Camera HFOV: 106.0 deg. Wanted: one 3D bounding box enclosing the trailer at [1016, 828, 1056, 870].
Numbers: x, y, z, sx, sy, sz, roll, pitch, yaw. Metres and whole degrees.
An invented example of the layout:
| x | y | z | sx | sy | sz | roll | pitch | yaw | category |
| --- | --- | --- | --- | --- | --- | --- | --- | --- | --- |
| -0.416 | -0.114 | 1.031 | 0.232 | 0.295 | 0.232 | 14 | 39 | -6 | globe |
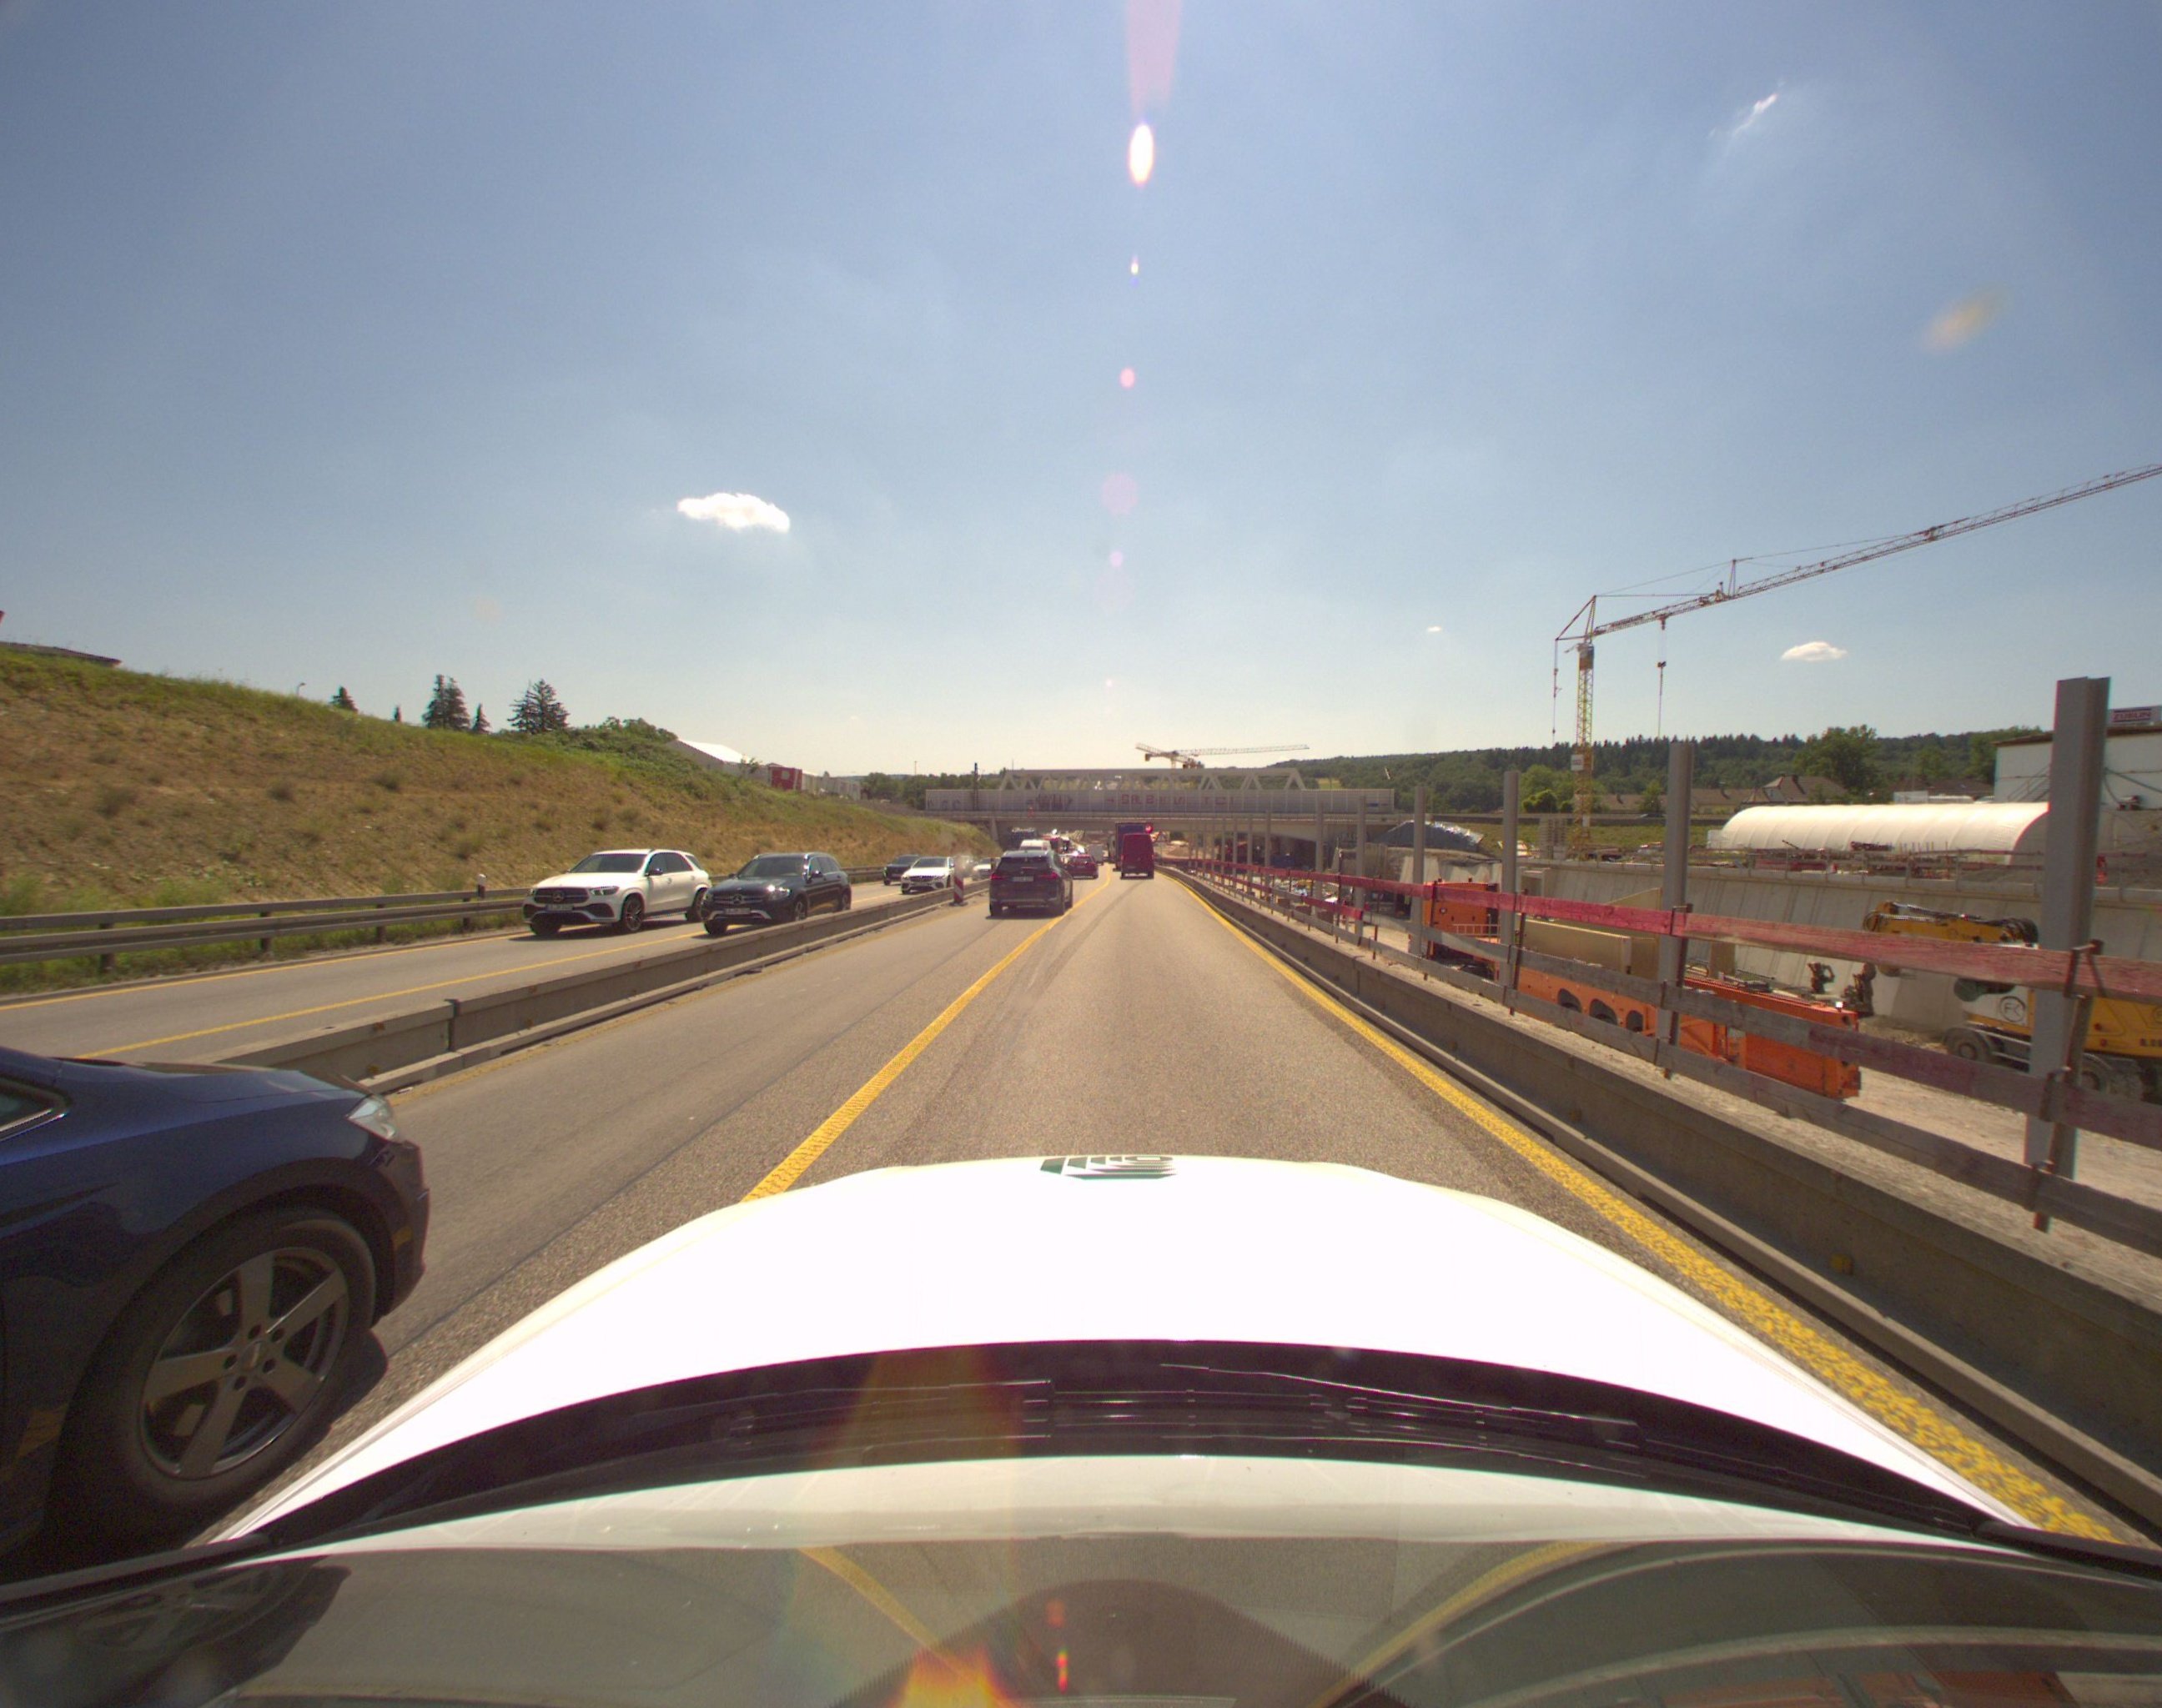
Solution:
| x | y | z | sx | sy | sz | roll | pitch | yaw | category |
| --- | --- | --- | --- | --- | --- | --- | --- | --- | --- |
| -4.590 | -0.530 | 85.101 | 2.335 | 4.015 | 11.470 | 0 | 0 | 6 | trailer |

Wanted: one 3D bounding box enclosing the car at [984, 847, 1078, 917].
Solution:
| x | y | z | sx | sy | sz | roll | pitch | yaw | category |
| --- | --- | --- | --- | --- | --- | --- | --- | --- | --- |
| -1.200 | 0.639 | 21.465 | 1.871 | 1.618 | 4.504 | -1 | 0 | 4 | car |

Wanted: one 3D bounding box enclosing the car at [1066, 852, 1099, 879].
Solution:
| x | y | z | sx | sy | sz | roll | pitch | yaw | category |
| --- | --- | --- | --- | --- | --- | --- | --- | --- | --- |
| 0.122 | 0.665 | 48.984 | 1.769 | 1.517 | 4.209 | -1 | 0 | 2 | car |

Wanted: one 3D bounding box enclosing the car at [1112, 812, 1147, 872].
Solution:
| x | y | z | sx | sy | sz | roll | pitch | yaw | category |
| --- | --- | --- | --- | --- | --- | --- | --- | --- | --- |
| 4.260 | -1.068 | 73.621 | 2.612 | 5.032 | 10.398 | -1 | 0 | 1 | car |

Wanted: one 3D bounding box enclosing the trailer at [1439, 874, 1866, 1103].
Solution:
| x | y | z | sx | sy | sz | roll | pitch | yaw | category |
| --- | --- | --- | --- | --- | --- | --- | --- | --- | --- |
| 13.578 | 2.677 | 21.784 | 2.747 | 3.886 | 13.057 | 0 | 0 | 2 | trailer |

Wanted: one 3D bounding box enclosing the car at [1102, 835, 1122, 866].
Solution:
| x | y | z | sx | sy | sz | roll | pitch | yaw | category |
| --- | --- | --- | --- | --- | --- | --- | --- | --- | --- |
| 4.267 | -0.487 | 113.615 | 2.442 | 4.161 | 6.861 | -1 | 0 | 1 | car |

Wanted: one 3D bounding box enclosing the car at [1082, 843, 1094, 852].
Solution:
| x | y | z | sx | sy | sz | roll | pitch | yaw | category |
| --- | --- | --- | --- | --- | --- | --- | --- | --- | --- |
| 1.653 | -1.481 | 192.482 | 1.993 | 2.013 | 3.987 | 0 | 0 | -9 | car |

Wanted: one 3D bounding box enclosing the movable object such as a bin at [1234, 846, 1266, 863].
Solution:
| x | y | z | sx | sy | sz | roll | pitch | yaw | category |
| --- | --- | --- | --- | --- | --- | --- | --- | --- | --- |
| 27.945 | 0.079 | 134.660 | 5.120 | 2.807 | 2.146 | 0 | 0 | 6 | movable object such as a bin |

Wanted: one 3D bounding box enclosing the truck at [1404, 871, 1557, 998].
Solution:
| x | y | z | sx | sy | sz | roll | pitch | yaw | category |
| --- | --- | --- | --- | --- | --- | --- | --- | --- | --- |
| 13.883 | 2.625 | 28.862 | 2.748 | 3.886 | 5.885 | 0 | 0 | 2 | truck |

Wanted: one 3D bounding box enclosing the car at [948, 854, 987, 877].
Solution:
| x | y | z | sx | sy | sz | roll | pitch | yaw | category |
| --- | --- | --- | --- | --- | --- | --- | --- | --- | --- |
| -7.646 | 0.744 | 55.059 | 1.757 | 1.447 | 4.133 | 0 | 0 | 4 | car |

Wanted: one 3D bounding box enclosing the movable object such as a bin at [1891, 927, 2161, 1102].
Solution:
| x | y | z | sx | sy | sz | roll | pitch | yaw | category |
| --- | --- | --- | --- | --- | --- | --- | --- | --- | --- |
| 21.975 | 3.419 | 18.588 | 2.271 | 3.024 | 4.824 | 1 | 0 | 3 | movable object such as a bin |

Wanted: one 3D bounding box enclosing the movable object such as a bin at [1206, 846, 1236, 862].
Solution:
| x | y | z | sx | sy | sz | roll | pitch | yaw | category |
| --- | --- | --- | --- | --- | --- | --- | --- | --- | --- |
| 25.170 | 0.061 | 146.443 | 5.120 | 2.807 | 2.146 | 0 | 0 | 6 | movable object such as a bin |

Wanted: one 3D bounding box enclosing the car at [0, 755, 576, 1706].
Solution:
| x | y | z | sx | sy | sz | roll | pitch | yaw | category |
| --- | --- | --- | --- | --- | --- | --- | --- | --- | --- |
| -2.855 | 0.703 | 0.763 | 1.769 | 1.718 | 4.653 | 0 | 1 | 1 | car |

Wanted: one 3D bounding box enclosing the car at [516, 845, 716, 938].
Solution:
| x | y | z | sx | sy | sz | roll | pitch | yaw | category |
| --- | --- | --- | --- | --- | --- | --- | --- | --- | --- |
| -10.032 | 0.716 | 18.053 | 1.785 | 1.762 | 4.537 | -1 | 0 | 0 | car |

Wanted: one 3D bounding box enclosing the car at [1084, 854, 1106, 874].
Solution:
| x | y | z | sx | sy | sz | roll | pitch | yaw | category |
| --- | --- | --- | --- | --- | --- | --- | --- | --- | --- |
| 1.203 | 0.830 | 70.767 | 1.833 | 1.654 | 4.164 | -1 | 1 | 0 | car |

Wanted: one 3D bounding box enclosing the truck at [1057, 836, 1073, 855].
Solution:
| x | y | z | sx | sy | sz | roll | pitch | yaw | category |
| --- | --- | --- | --- | --- | --- | --- | --- | --- | --- |
| -3.351 | -1.791 | 173.177 | 2.825 | 3.852 | 12.914 | 0 | 0 | 1 | truck |

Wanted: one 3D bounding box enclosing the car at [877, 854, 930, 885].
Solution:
| x | y | z | sx | sy | sz | roll | pitch | yaw | category |
| --- | --- | --- | --- | --- | --- | --- | --- | --- | --- |
| -9.086 | 0.757 | 41.949 | 1.687 | 1.531 | 4.003 | 0 | 0 | 3 | car |

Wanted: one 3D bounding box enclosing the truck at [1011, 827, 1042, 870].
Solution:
| x | y | z | sx | sy | sz | roll | pitch | yaw | category |
| --- | --- | --- | --- | --- | --- | --- | --- | --- | --- |
| -5.248 | -0.501 | 78.688 | 2.346 | 4.015 | 4.006 | 0 | 0 | 6 | truck |

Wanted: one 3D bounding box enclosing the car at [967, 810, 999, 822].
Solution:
| x | y | z | sx | sy | sz | roll | pitch | yaw | category |
| --- | --- | --- | --- | --- | --- | --- | --- | --- | --- |
| -15.515 | -5.979 | 129.236 | 4.521 | 1.783 | 1.968 | 0 | 0 | 14 | car |

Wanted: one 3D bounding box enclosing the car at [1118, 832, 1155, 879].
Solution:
| x | y | z | sx | sy | sz | roll | pitch | yaw | category |
| --- | --- | --- | --- | --- | --- | --- | --- | --- | --- |
| 3.313 | 0.053 | 49.475 | 1.982 | 2.690 | 4.624 | -1 | 0 | 1 | car |

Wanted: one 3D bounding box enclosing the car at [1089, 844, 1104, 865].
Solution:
| x | y | z | sx | sy | sz | roll | pitch | yaw | category |
| --- | --- | --- | --- | --- | --- | --- | --- | --- | --- |
| 1.923 | 0.069 | 99.206 | 1.770 | 2.441 | 4.206 | -1 | 0 | 1 | car |

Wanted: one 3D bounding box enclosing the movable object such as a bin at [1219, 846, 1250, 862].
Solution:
| x | y | z | sx | sy | sz | roll | pitch | yaw | category |
| --- | --- | --- | --- | --- | --- | --- | --- | --- | --- |
| 26.624 | -0.019 | 141.635 | 5.120 | 2.807 | 2.146 | 0 | 0 | 6 | movable object such as a bin |

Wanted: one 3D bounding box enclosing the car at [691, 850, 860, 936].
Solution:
| x | y | z | sx | sy | sz | roll | pitch | yaw | category |
| --- | --- | --- | --- | --- | --- | --- | --- | --- | --- |
| -6.438 | 0.736 | 17.825 | 1.784 | 1.611 | 4.735 | 0 | 0 | 2 | car |

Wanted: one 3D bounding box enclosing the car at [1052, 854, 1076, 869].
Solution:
| x | y | z | sx | sy | sz | roll | pitch | yaw | category |
| --- | --- | --- | --- | --- | --- | --- | --- | --- | --- |
| -1.680 | 0.740 | 83.096 | 1.808 | 1.383 | 4.592 | 0 | 0 | 7 | car |

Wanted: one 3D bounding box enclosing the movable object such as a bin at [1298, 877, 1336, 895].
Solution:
| x | y | z | sx | sy | sz | roll | pitch | yaw | category |
| --- | --- | --- | --- | --- | --- | --- | --- | --- | --- |
| 21.868 | 2.970 | 75.534 | 3.067 | 1.563 | 1.563 | 0 | 0 | 37 | movable object such as a bin |

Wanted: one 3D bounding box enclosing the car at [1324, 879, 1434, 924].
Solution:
| x | y | z | sx | sy | sz | roll | pitch | yaw | category |
| --- | --- | --- | --- | --- | --- | --- | --- | --- | --- |
| 18.837 | 2.977 | 51.656 | 6.086 | 2.584 | 2.523 | 1 | 2 | -9 | car |

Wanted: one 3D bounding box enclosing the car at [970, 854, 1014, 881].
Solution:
| x | y | z | sx | sy | sz | roll | pitch | yaw | category |
| --- | --- | --- | --- | --- | --- | --- | --- | --- | --- |
| -5.269 | 0.773 | 48.856 | 1.793 | 1.447 | 4.641 | 0 | 0 | 4 | car |

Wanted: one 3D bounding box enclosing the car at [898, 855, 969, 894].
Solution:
| x | y | z | sx | sy | sz | roll | pitch | yaw | category |
| --- | --- | --- | --- | --- | --- | --- | --- | --- | --- |
| -6.157 | 0.805 | 34.499 | 1.954 | 1.464 | 4.942 | 0 | 0 | 2 | car |

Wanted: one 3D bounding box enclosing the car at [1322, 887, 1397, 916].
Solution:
| x | y | z | sx | sy | sz | roll | pitch | yaw | category |
| --- | --- | --- | --- | --- | --- | --- | --- | --- | --- |
| 19.816 | 3.339 | 58.077 | 4.709 | 1.773 | 2.002 | 1 | 2 | 2 | car |

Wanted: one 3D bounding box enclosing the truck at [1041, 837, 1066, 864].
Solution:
| x | y | z | sx | sy | sz | roll | pitch | yaw | category |
| --- | --- | --- | --- | --- | --- | --- | --- | --- | --- |
| -4.037 | -0.521 | 122.422 | 2.823 | 3.852 | 12.920 | 0 | 0 | 2 | truck |

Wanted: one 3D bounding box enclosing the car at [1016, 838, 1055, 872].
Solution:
| x | y | z | sx | sy | sz | roll | pitch | yaw | category |
| --- | --- | --- | --- | --- | --- | --- | --- | --- | --- |
| -3.541 | 0.049 | 64.959 | 1.983 | 2.606 | 7.023 | 0 | 0 | 6 | car |
